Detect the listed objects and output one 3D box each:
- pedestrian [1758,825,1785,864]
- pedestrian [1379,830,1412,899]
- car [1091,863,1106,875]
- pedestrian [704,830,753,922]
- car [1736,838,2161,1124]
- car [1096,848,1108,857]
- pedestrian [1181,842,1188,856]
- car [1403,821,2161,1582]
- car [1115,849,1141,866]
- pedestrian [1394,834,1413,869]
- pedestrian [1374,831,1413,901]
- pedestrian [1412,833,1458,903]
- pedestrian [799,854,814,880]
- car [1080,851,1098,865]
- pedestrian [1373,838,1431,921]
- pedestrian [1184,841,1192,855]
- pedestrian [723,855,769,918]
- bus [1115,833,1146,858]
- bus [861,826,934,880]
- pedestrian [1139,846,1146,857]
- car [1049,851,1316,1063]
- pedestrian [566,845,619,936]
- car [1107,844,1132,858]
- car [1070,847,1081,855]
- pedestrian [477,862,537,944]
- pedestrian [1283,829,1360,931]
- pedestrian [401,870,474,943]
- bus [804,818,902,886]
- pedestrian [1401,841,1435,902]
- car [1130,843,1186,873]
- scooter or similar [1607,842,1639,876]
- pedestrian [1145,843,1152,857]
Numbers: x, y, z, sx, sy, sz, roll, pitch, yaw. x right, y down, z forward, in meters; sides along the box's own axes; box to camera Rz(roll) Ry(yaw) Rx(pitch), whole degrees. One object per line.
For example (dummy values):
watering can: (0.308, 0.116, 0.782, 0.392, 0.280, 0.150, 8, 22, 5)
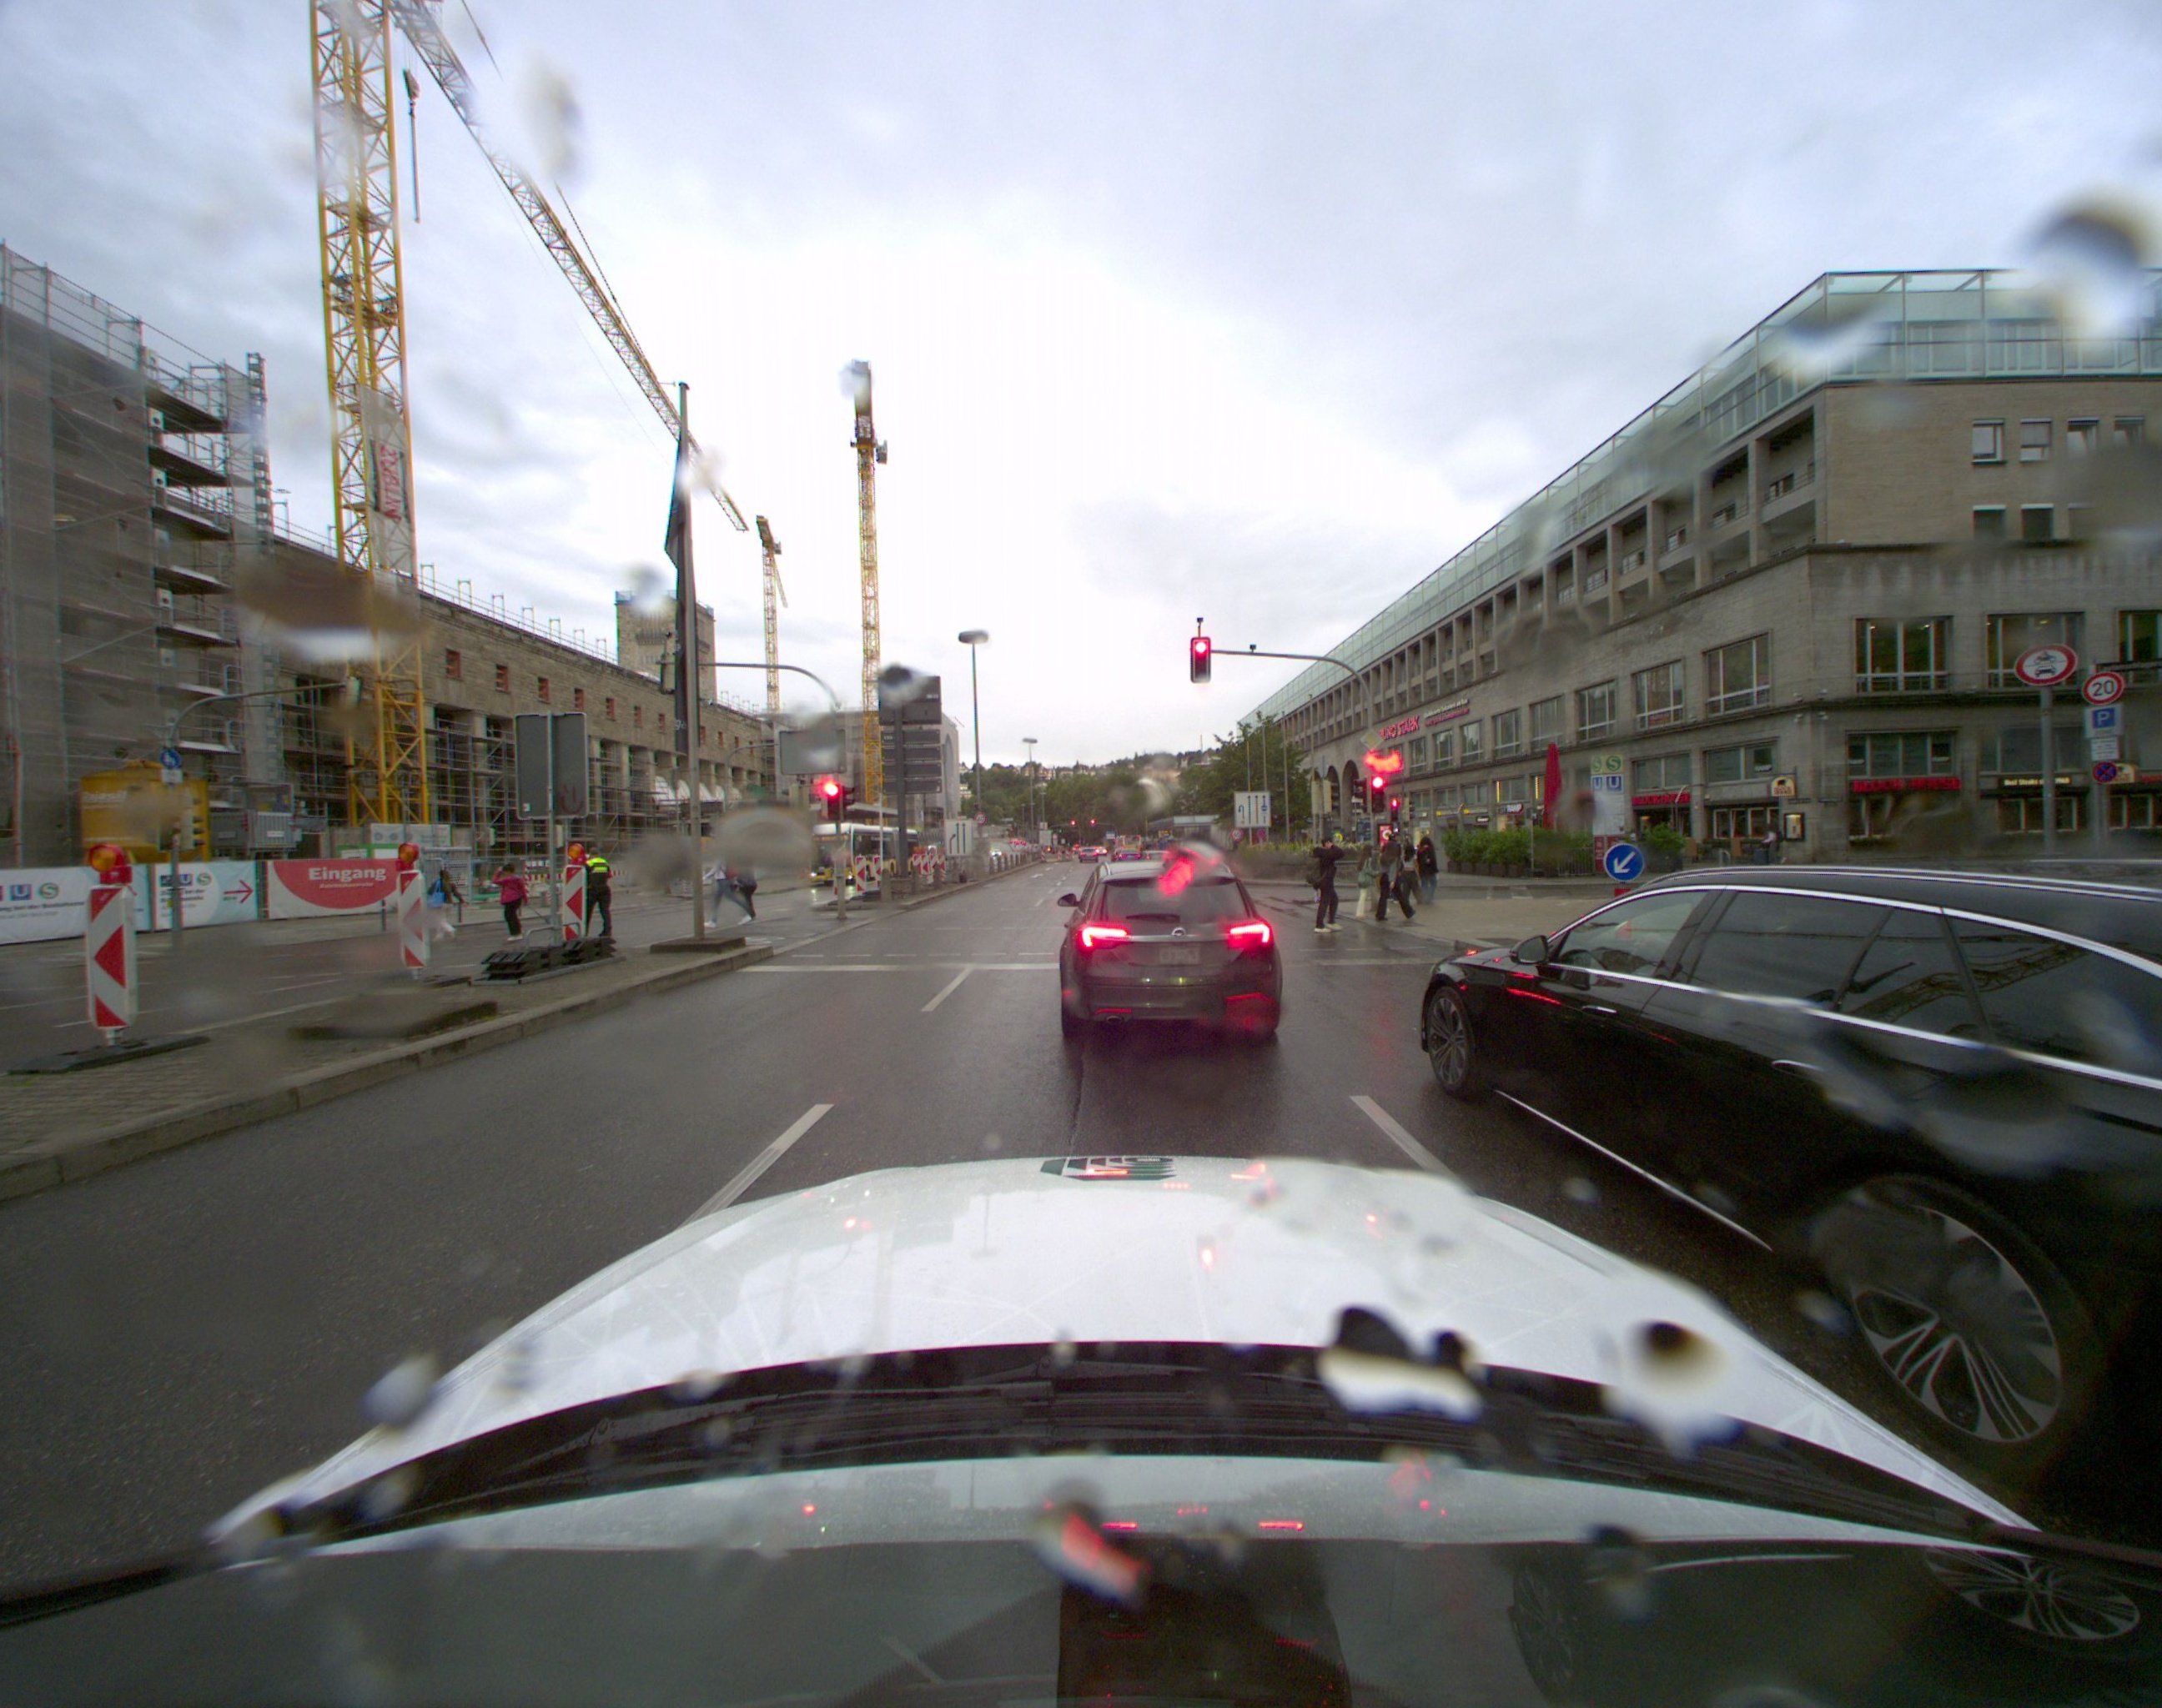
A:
pedestrian: (27.464, -0.369, 32.398, 0.750, 1.512, 0.721, -1, -1, 43)
pedestrian: (8.167, 0.262, 21.128, 0.563, 1.752, 0.684, -1, -1, 44)
car: (2.234, 1.876, 103.605, 1.839, 1.398, 3.565, 0, 0, 2)
pedestrian: (-7.381, 0.444, 17.067, 0.798, 1.890, 0.618, 0, -1, -7)
car: (6.563, 0.656, 4.784, 1.868, 1.486, 4.527, 0, 0, 1)
car: (3.268, -0.157, 127.747, 1.839, 1.398, 3.565, 0, 0, 2)
pedestrian: (12.099, -0.568, 95.267, 0.761, 1.690, 0.824, 0, -1, -3)
car: (3.055, 0.689, 3.250, 1.787, 1.501, 4.629, 0, 0, 1)
car: (3.826, 0.295, 66.766, 1.748, 1.398, 4.647, 0, 0, -1)
pedestrian: (18.713, -0.147, 47.190, 0.756, 2.014, 0.830, -1, -1, 43)
pedestrian: (7.772, 0.301, 20.265, 0.753, 1.717, 0.466, 0, -1, -2)
pedestrian: (8.354, 0.327, 19.251, 0.797, 1.608, 0.619, 0, -1, -2)
pedestrian: (-19.581, 0.909, 58.101, 0.659, 1.855, 0.799, -2, 0, 1)
car: (0.825, 0.403, 81.754, 1.747, 1.398, 4.538, 0, 0, 0)
pedestrian: (6.413, 0.498, 16.307, 0.791, 1.626, 0.899, 0, -1, -2)
pedestrian: (12.379, -0.694, 94.110, 0.761, 1.690, 0.824, 0, -1, -3)
pedestrian: (-8.413, 0.806, 20.485, 0.871, 1.561, 0.785, 0, -1, -6)
bus: (7.209, -1.126, 120.944, 4.158, 3.469, 14.659, 0, 0, 2)
bus: (-13.065, -0.044, 59.024, 2.658, 3.602, 10.215, 0, 0, 2)
pedestrian: (11.562, -0.478, 152.799, 1.194, 2.149, 1.229, 0, -1, 3)
car: (0.762, 0.737, 7.743, 1.868, 1.486, 4.001, 0, 0, 1)
pedestrian: (-10.093, 0.739, 16.854, 0.576, 1.836, 0.820, 0, -1, 2)
car: (3.961, -0.323, 83.840, 1.752, 1.398, 4.389, 0, 0, -8)
car: (-0.977, -0.608, 150.182, 1.752, 1.398, 3.565, 0, 0, 2)
pedestrian: (-12.485, 1.055, 17.732, 0.797, 1.717, 0.619, -3, 0, -2)
pedestrian: (4.363, 0.463, 14.818, 1.093, 1.751, 0.653, -3, -1, -1)
pedestrian: (-14.398, 1.154, 18.251, 0.912, 1.563, 0.899, 0, -1, -2)
bus: (-13.386, -0.092, 48.839, 2.658, 3.602, 10.243, 0, 0, 2)
pedestrian: (8.171, 0.418, 19.756, 0.677, 1.474, 0.366, 0, -1, -3)
car: (3.767, 0.194, 40.458, 1.846, 1.398, 3.654, 0, 0, -10)
scooter or similar: (19.372, 0.188, 29.129, 0.290, 1.189, 1.014, 0, -1, -17)
pedestrian: (11.483, -0.632, 138.976, 1.194, 2.435, 1.229, 0, -1, 3)
